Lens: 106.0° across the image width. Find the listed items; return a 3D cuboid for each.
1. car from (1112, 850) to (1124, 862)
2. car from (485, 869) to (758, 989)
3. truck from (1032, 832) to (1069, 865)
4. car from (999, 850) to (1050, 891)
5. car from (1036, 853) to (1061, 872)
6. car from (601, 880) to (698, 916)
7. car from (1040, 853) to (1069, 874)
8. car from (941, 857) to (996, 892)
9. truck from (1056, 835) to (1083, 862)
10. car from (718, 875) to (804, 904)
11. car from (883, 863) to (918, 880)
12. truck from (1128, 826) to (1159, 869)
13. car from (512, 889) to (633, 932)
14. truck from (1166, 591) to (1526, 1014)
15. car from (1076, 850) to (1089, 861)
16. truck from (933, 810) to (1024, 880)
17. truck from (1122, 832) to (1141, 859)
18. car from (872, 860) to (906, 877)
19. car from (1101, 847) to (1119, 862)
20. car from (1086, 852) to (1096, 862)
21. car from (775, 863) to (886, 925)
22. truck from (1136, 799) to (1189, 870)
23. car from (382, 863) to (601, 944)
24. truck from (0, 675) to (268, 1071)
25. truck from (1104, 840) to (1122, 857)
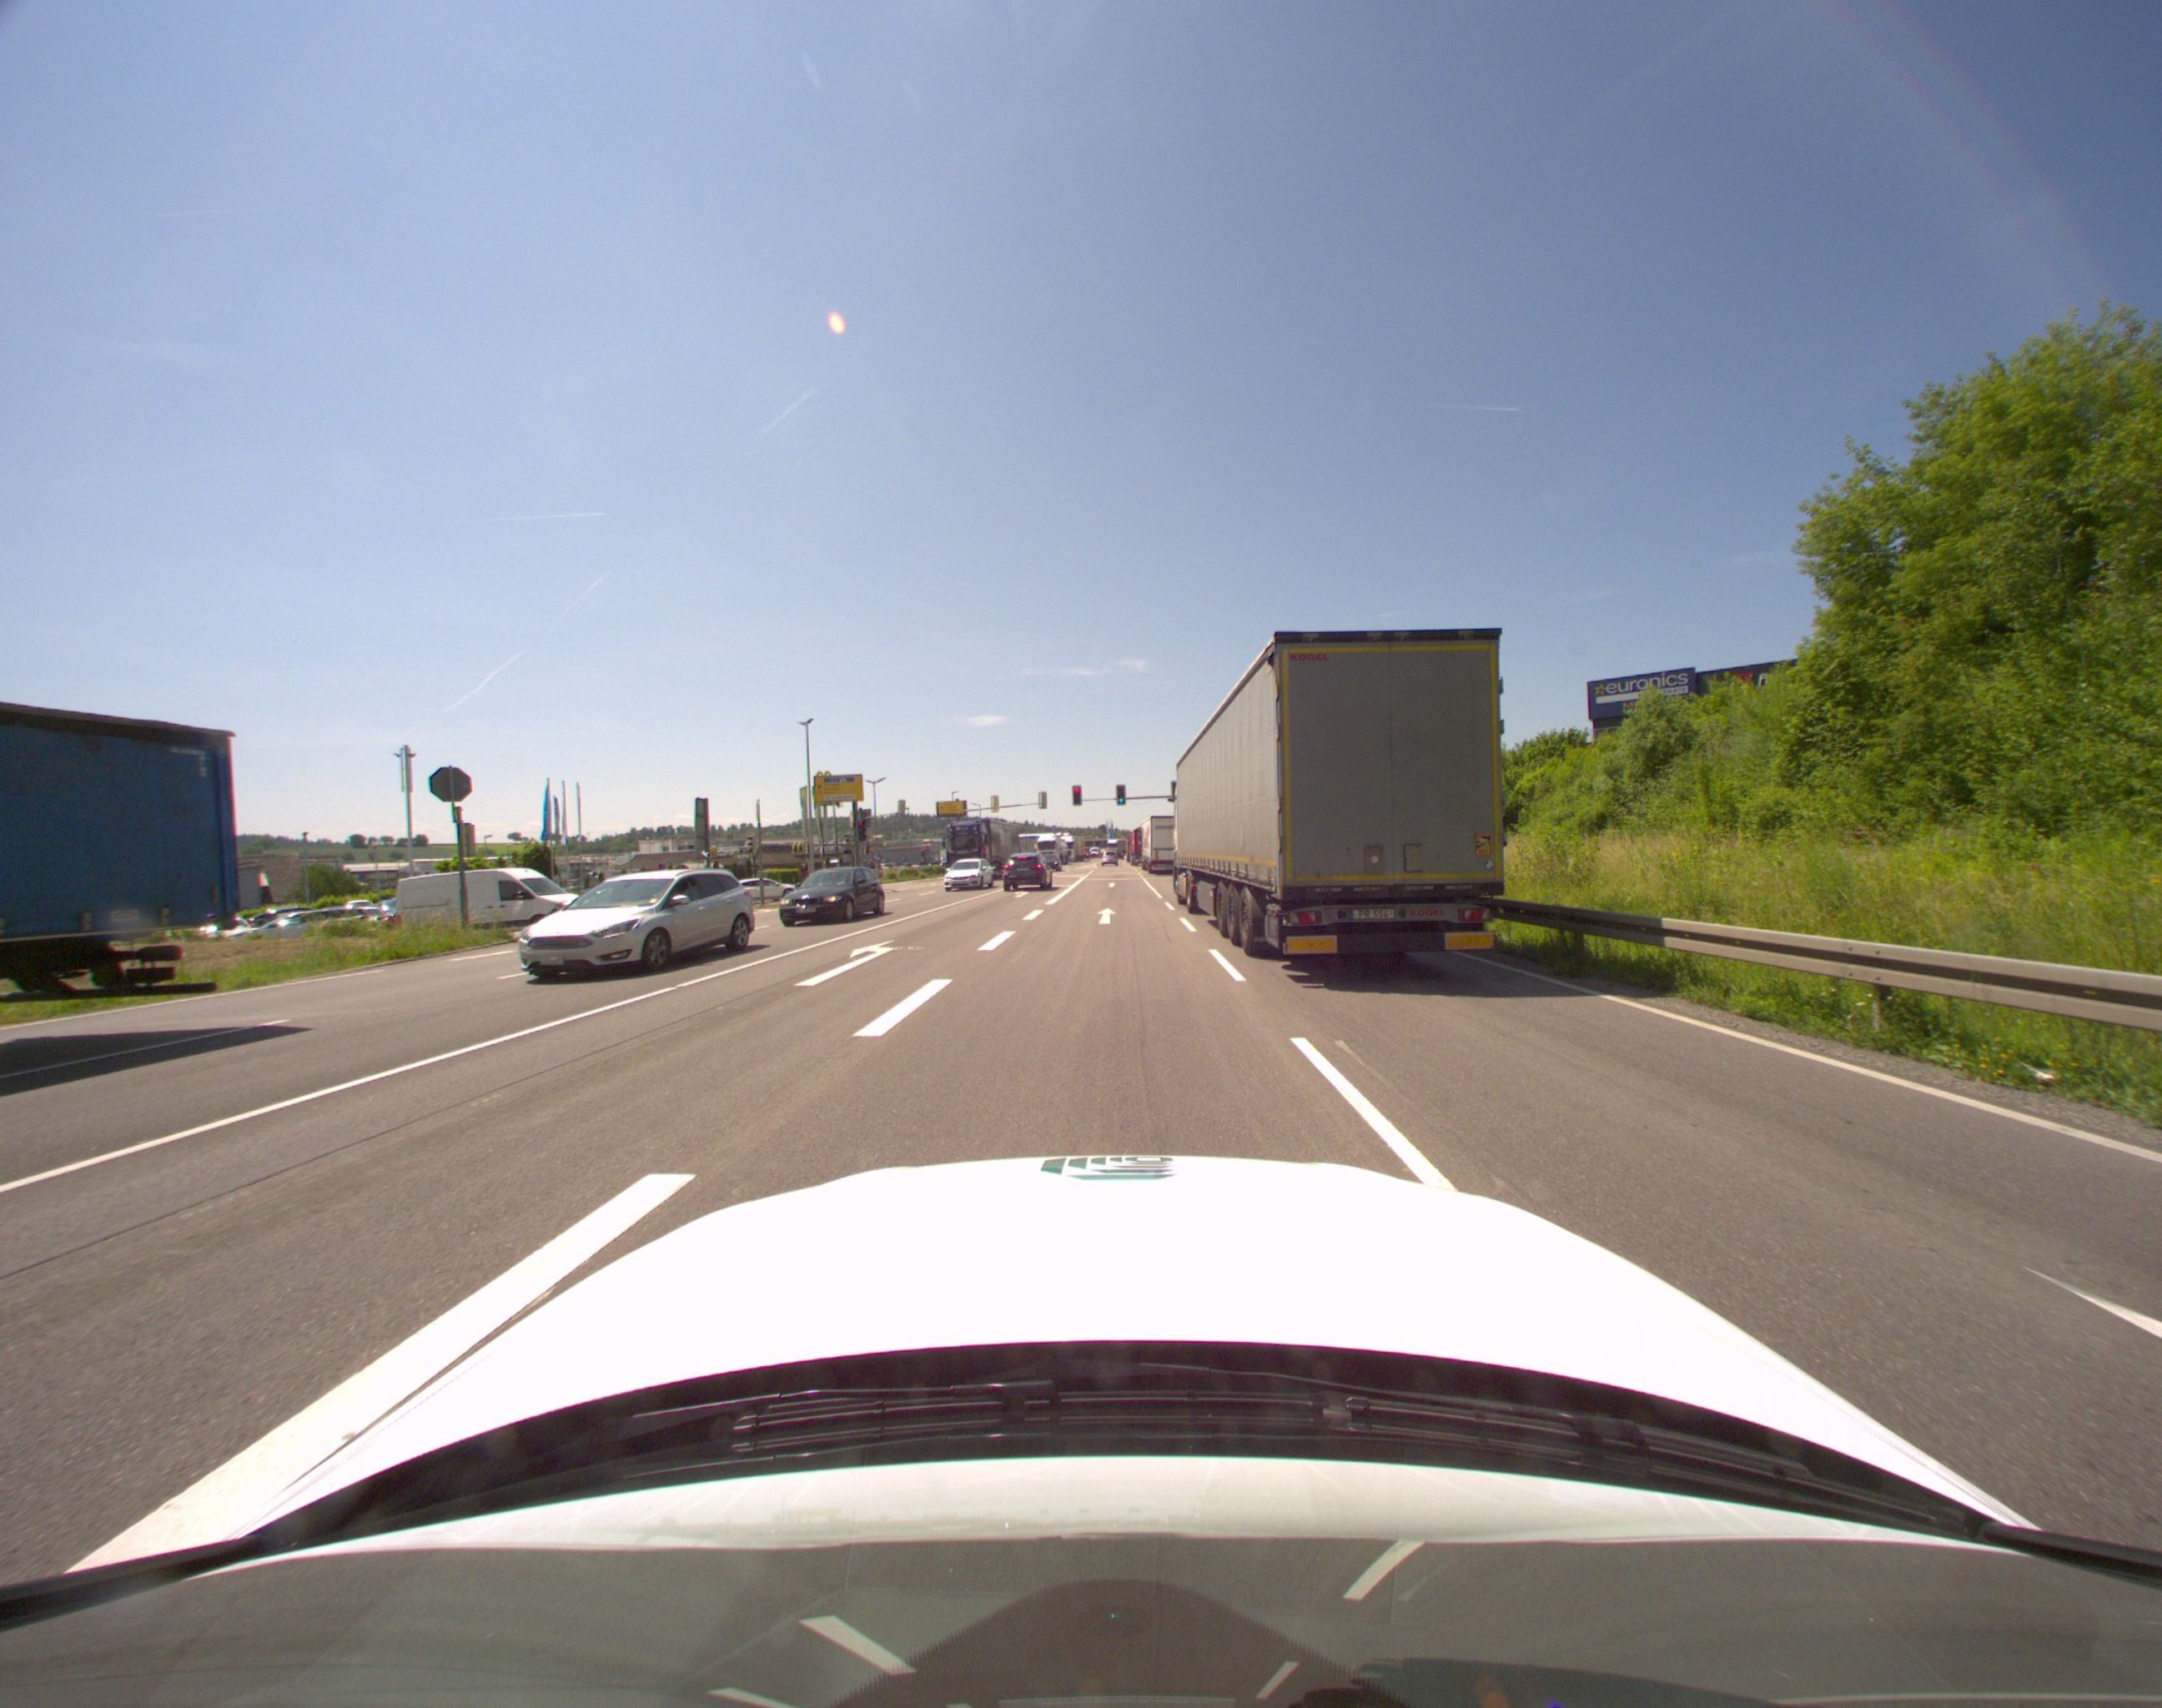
[{"bbox_3d":[6.713,0.358,146.780,1.984,2.013,4.006,-2,0,6],"label":"car"},{"bbox_3d":[-6.933,1.035,12.925,1.783,1.426,4.264,-3,0,1],"label":"car"},{"bbox_3d":[-3.846,-0.710,106.178,2.921,3.950,14.256,-2,0,5],"label":"truck"},{"bbox_3d":[-2.435,0.687,36.021,1.787,1.627,4.370,-2,0,1],"label":"car"},{"bbox_3d":[-2.798,0.681,70.869,1.657,1.508,3.908,-3,0,3],"label":"car"},{"bbox_3d":[-23.101,2.314,43.738,1.727,1.601,4.224,-3,0,42],"label":"car"},{"bbox_3d":[-2.005,0.719,63.522,1.803,1.508,4.950,-2,0,3],"label":"car"},{"bbox_3d":[-5.416,0.993,39.805,1.733,1.503,4.410,-4,-1,3],"label":"car"},{"bbox_3d":[-1.722,-0.881,130.716,2.921,3.950,13.880,-2,0,4],"label":"truck"},{"bbox_3d":[-17.546,1.926,44.816,1.767,1.480,4.037,-2,-2,44],"label":"car"},{"bbox_3d":[-23.473,2.266,105.794,1.918,2.013,4.026,-2,0,38],"label":"car"},{"bbox_3d":[7.041,-0.559,94.009,2.864,4.479,16.661,-1,-1,2],"label":"truck"},{"bbox_3d":[-23.588,2.568,37.915,1.727,1.601,4.438,-3,0,42],"label":"car"},{"bbox_3d":[3.793,-0.427,17.350,2.745,4.639,16.661,-1,-1,2],"label":"truck"},{"bbox_3d":[0.229,0.266,152.929,1.984,2.014,4.006,-1,-1,6],"label":"car"},{"bbox_3d":[-7.132,-0.616,60.493,3.132,4.349,17.562,-3,0,4],"label":"truck"},{"bbox_3d":[7.436,-1.181,120.805,2.598,3.717,9.454,-1,-1,2],"label":"truck"},{"bbox_3d":[-25.199,1.907,107.056,1.918,2.013,4.026,-2,0,38],"label":"car"},{"bbox_3d":[3.306,0.038,92.327,1.796,1.670,4.297,-1,0,4],"label":"car"},{"bbox_3d":[2.089,0.555,170.636,1.895,2.014,4.006,-1,-1,5],"label":"car"},{"bbox_3d":[-6.561,0.996,21.803,1.657,1.403,4.016,-3,0,0],"label":"car"},{"bbox_3d":[5.938,-1.145,62.003,2.864,4.639,16.661,-1,-1,2],"label":"truck"},{"bbox_3d":[-20.822,1.701,28.996,5.978,2.487,2.192,-2,0,-4],"label":"car"},{"bbox_3d":[-10.764,0.177,3.338,2.835,3.351,11.490,-2,0,3],"label":"truck"},{"bbox_3d":[8.479,-1.343,211.615,3.253,3.950,13.893,-1,-1,8],"label":"truck"}]
